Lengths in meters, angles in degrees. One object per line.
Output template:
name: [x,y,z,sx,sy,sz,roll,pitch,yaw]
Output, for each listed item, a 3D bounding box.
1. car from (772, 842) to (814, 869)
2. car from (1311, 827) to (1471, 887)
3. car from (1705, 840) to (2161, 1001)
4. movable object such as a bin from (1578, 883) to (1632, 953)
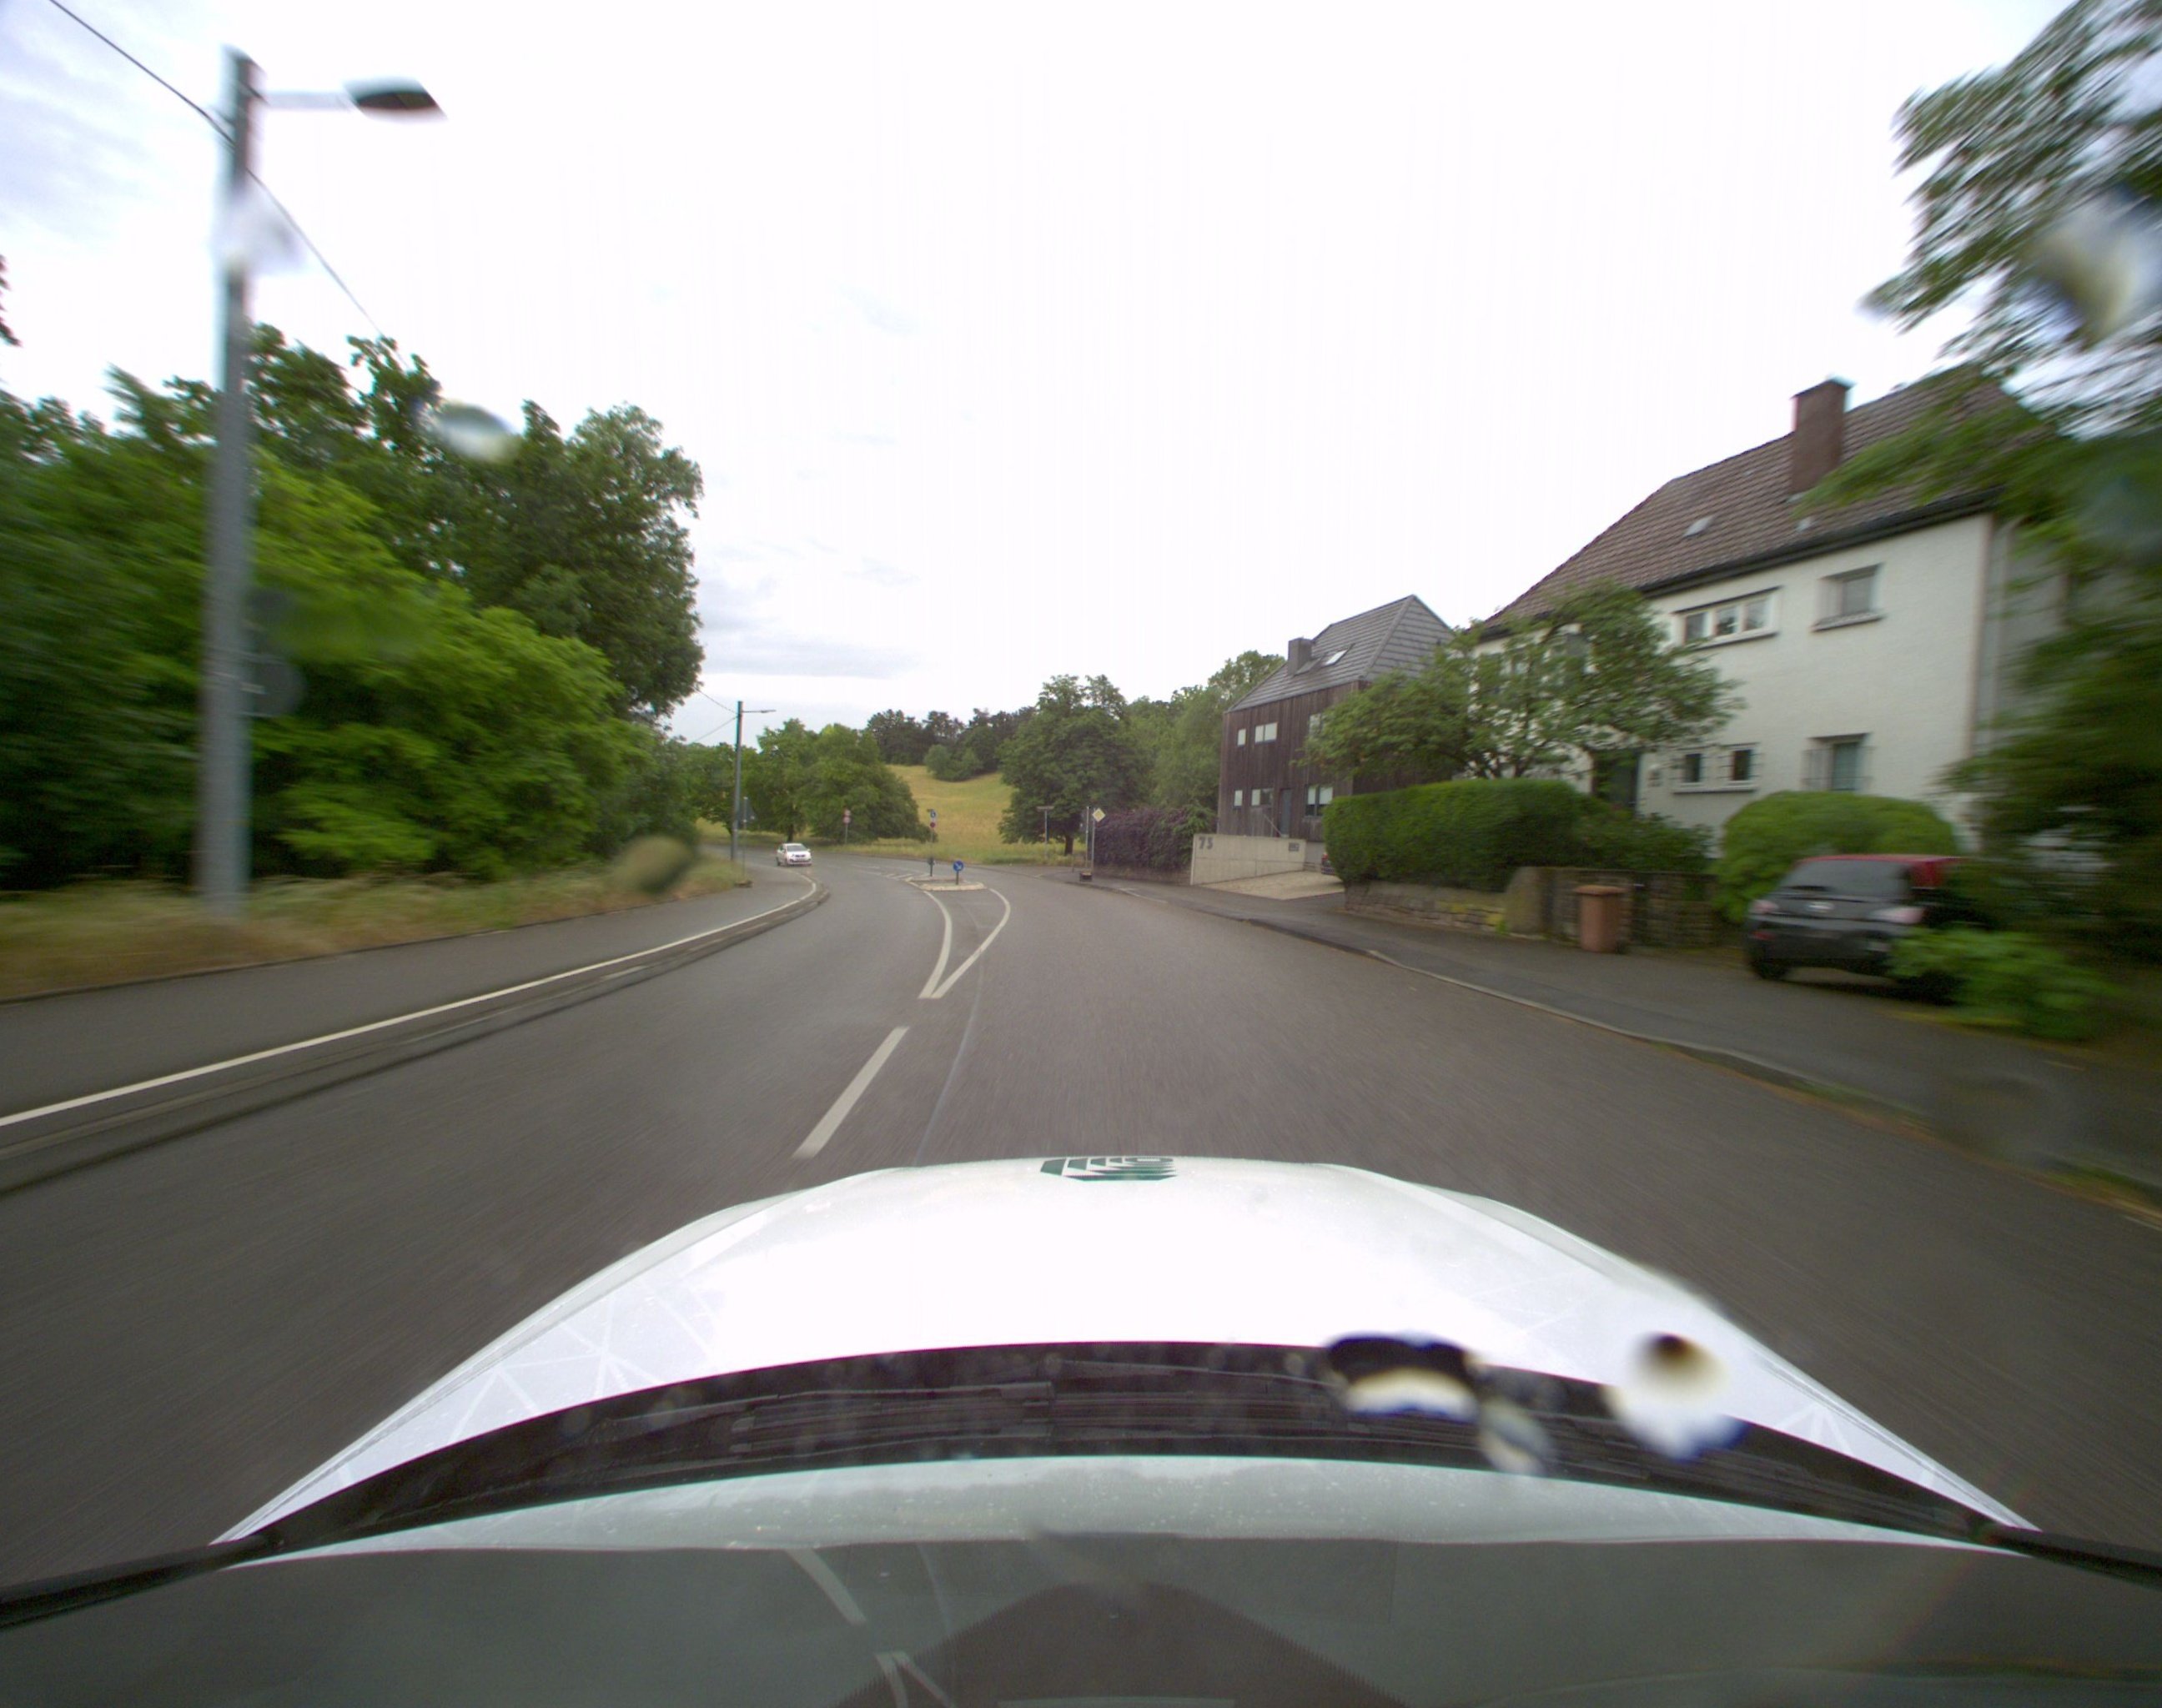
car: [-19.210,0.085,54.246,1.806,1.485,3.961,-3,4,-32]
car: [9.823,0.045,25.854,4.568,1.529,1.800,-4,2,-16]
car: [9.297,0.693,8.947,3.993,1.496,1.764,3,1,-15]
movable object such as a bin: [7.202,0.877,11.207,0.418,0.920,0.462,1,0,-9]
